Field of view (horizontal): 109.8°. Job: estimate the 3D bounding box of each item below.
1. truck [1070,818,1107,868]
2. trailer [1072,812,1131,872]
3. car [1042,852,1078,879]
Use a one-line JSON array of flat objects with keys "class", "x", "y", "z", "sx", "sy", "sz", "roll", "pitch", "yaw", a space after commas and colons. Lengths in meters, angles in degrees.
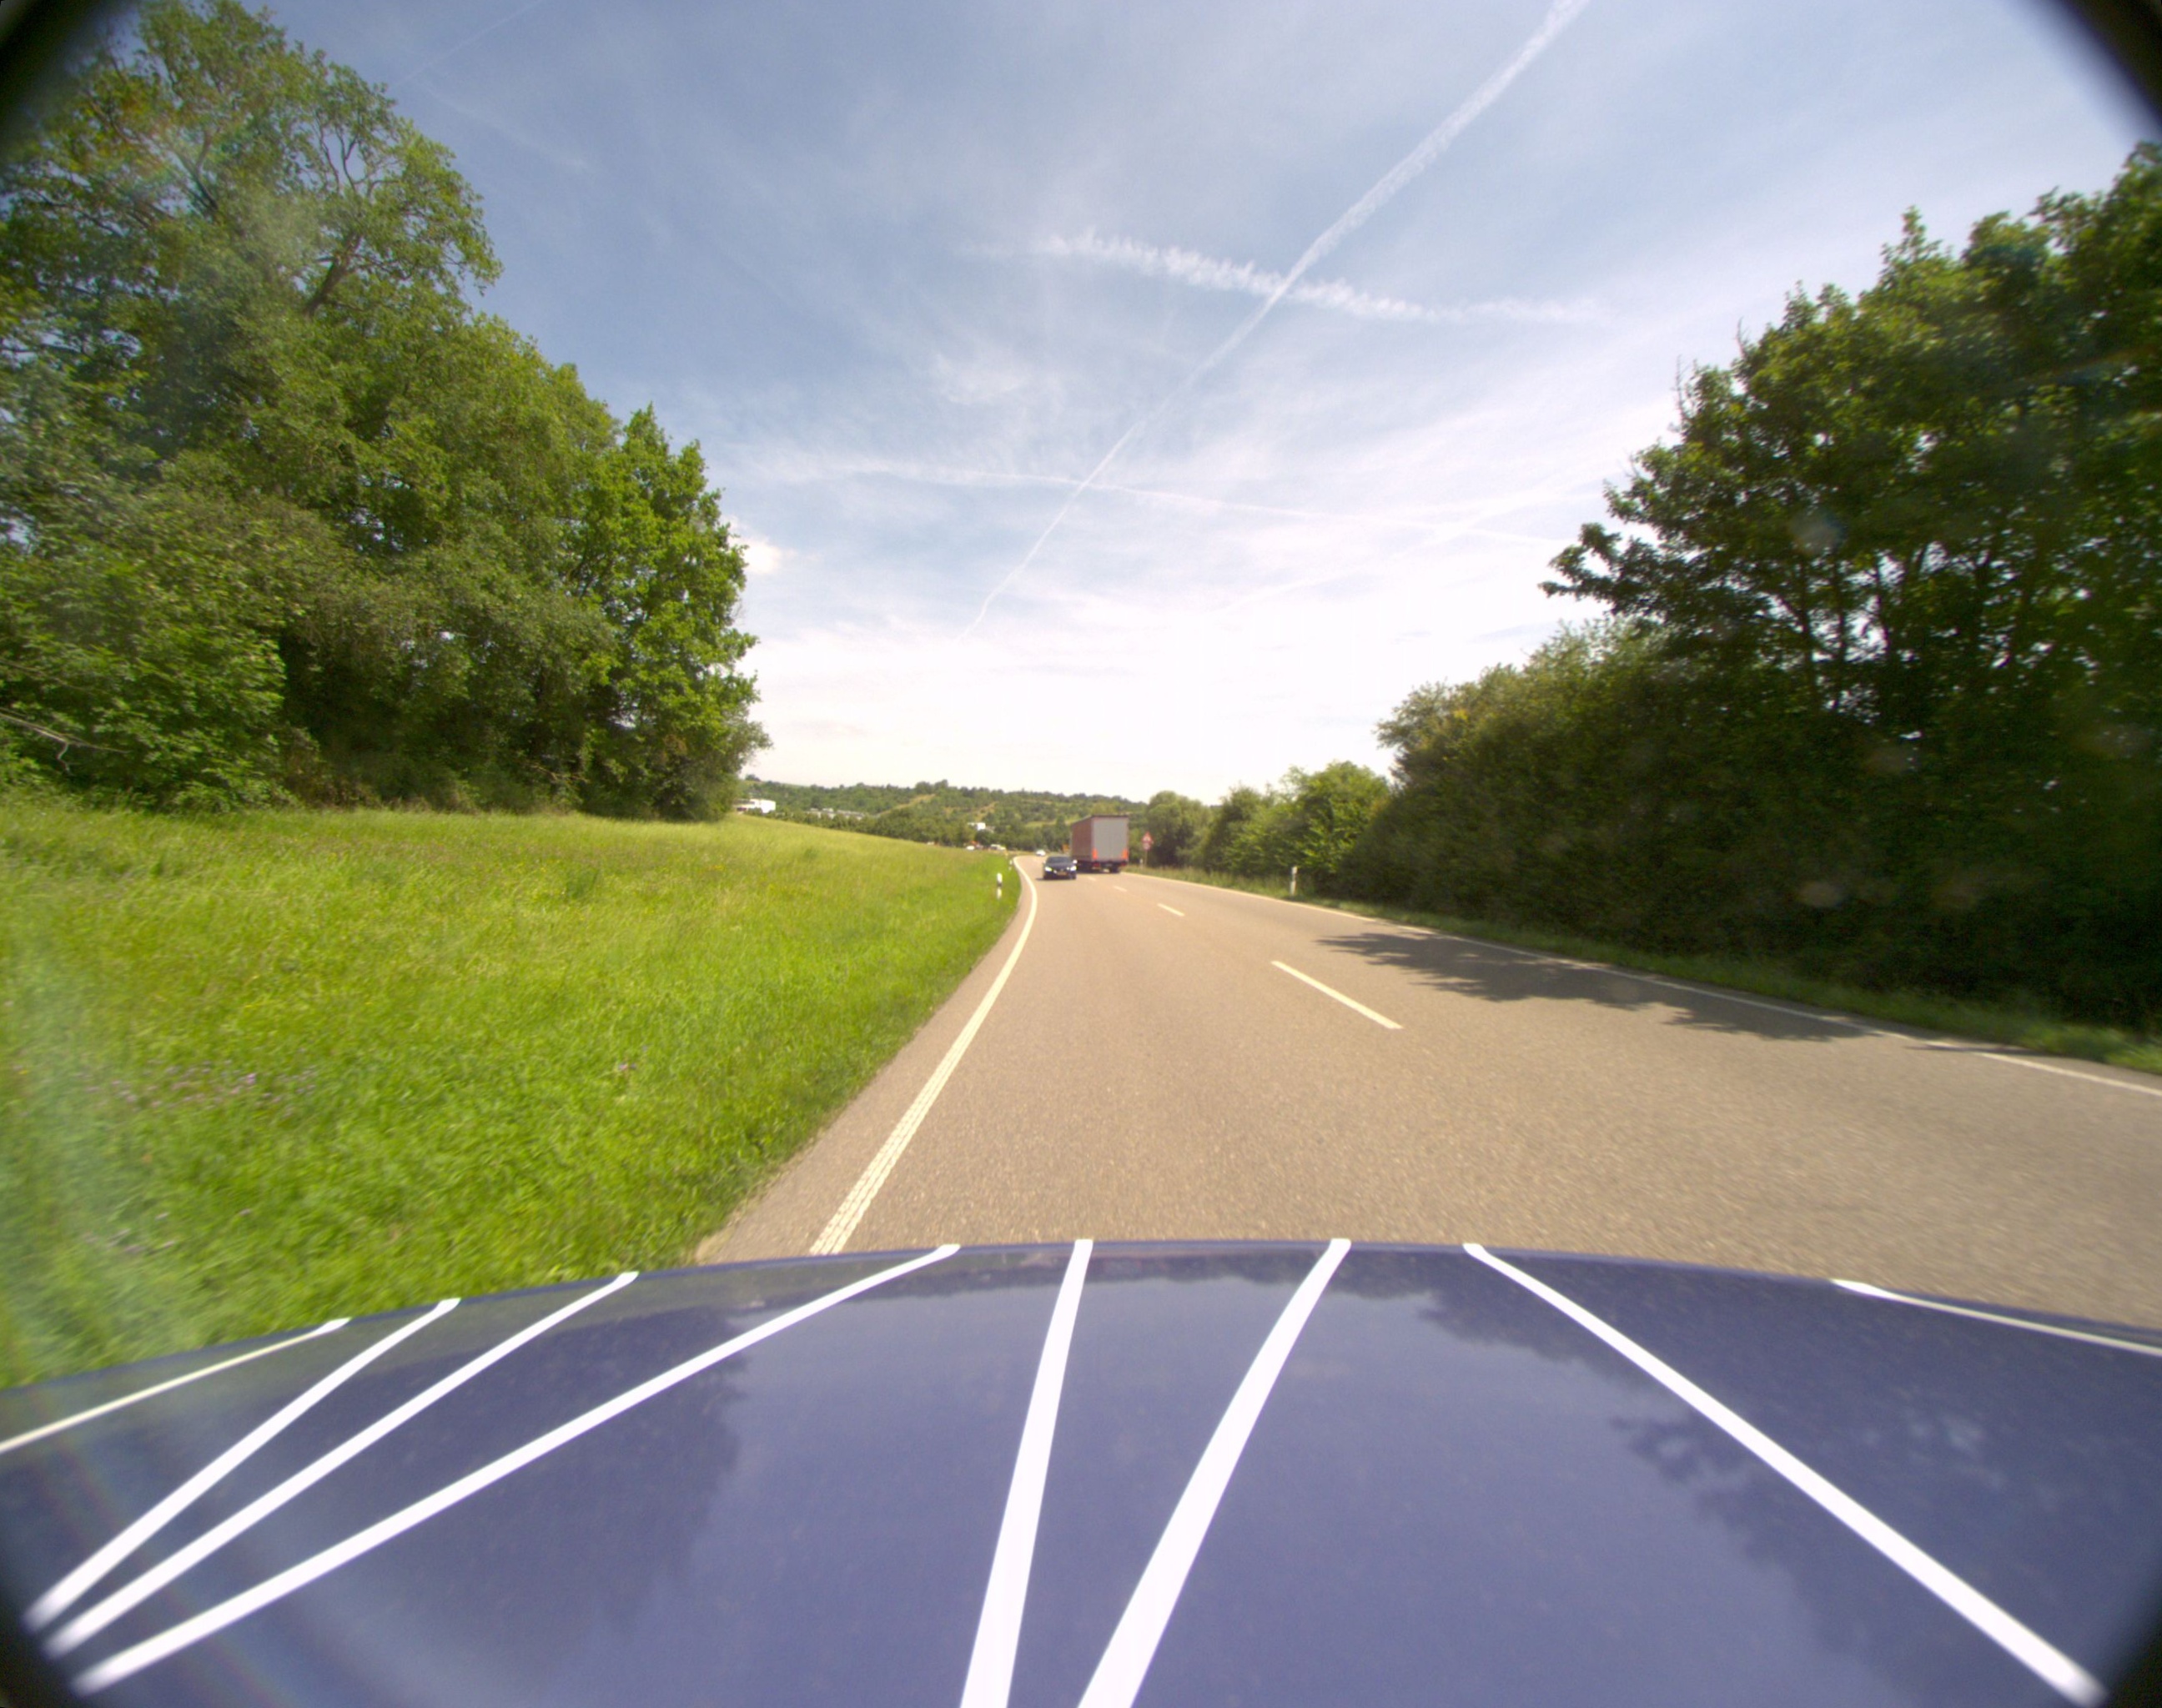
[{"class": "truck", "x": 0.567, "y": -0.902, "z": 65.324, "sx": 2.567, "sy": 4.091, "sz": 5.795, "roll": -1, "pitch": 1, "yaw": -6}, {"class": "trailer", "x": 1.332, "y": -0.858, "z": 58.918, "sx": 2.576, "sy": 4.084, "sz": 13.652, "roll": -1, "pitch": 0, "yaw": -7}, {"class": "car", "x": -1.313, "y": 0.624, "z": 45.004, "sx": 1.786, "sy": 1.440, "sz": 4.601, "roll": 0, "pitch": 1, "yaw": -6}]
